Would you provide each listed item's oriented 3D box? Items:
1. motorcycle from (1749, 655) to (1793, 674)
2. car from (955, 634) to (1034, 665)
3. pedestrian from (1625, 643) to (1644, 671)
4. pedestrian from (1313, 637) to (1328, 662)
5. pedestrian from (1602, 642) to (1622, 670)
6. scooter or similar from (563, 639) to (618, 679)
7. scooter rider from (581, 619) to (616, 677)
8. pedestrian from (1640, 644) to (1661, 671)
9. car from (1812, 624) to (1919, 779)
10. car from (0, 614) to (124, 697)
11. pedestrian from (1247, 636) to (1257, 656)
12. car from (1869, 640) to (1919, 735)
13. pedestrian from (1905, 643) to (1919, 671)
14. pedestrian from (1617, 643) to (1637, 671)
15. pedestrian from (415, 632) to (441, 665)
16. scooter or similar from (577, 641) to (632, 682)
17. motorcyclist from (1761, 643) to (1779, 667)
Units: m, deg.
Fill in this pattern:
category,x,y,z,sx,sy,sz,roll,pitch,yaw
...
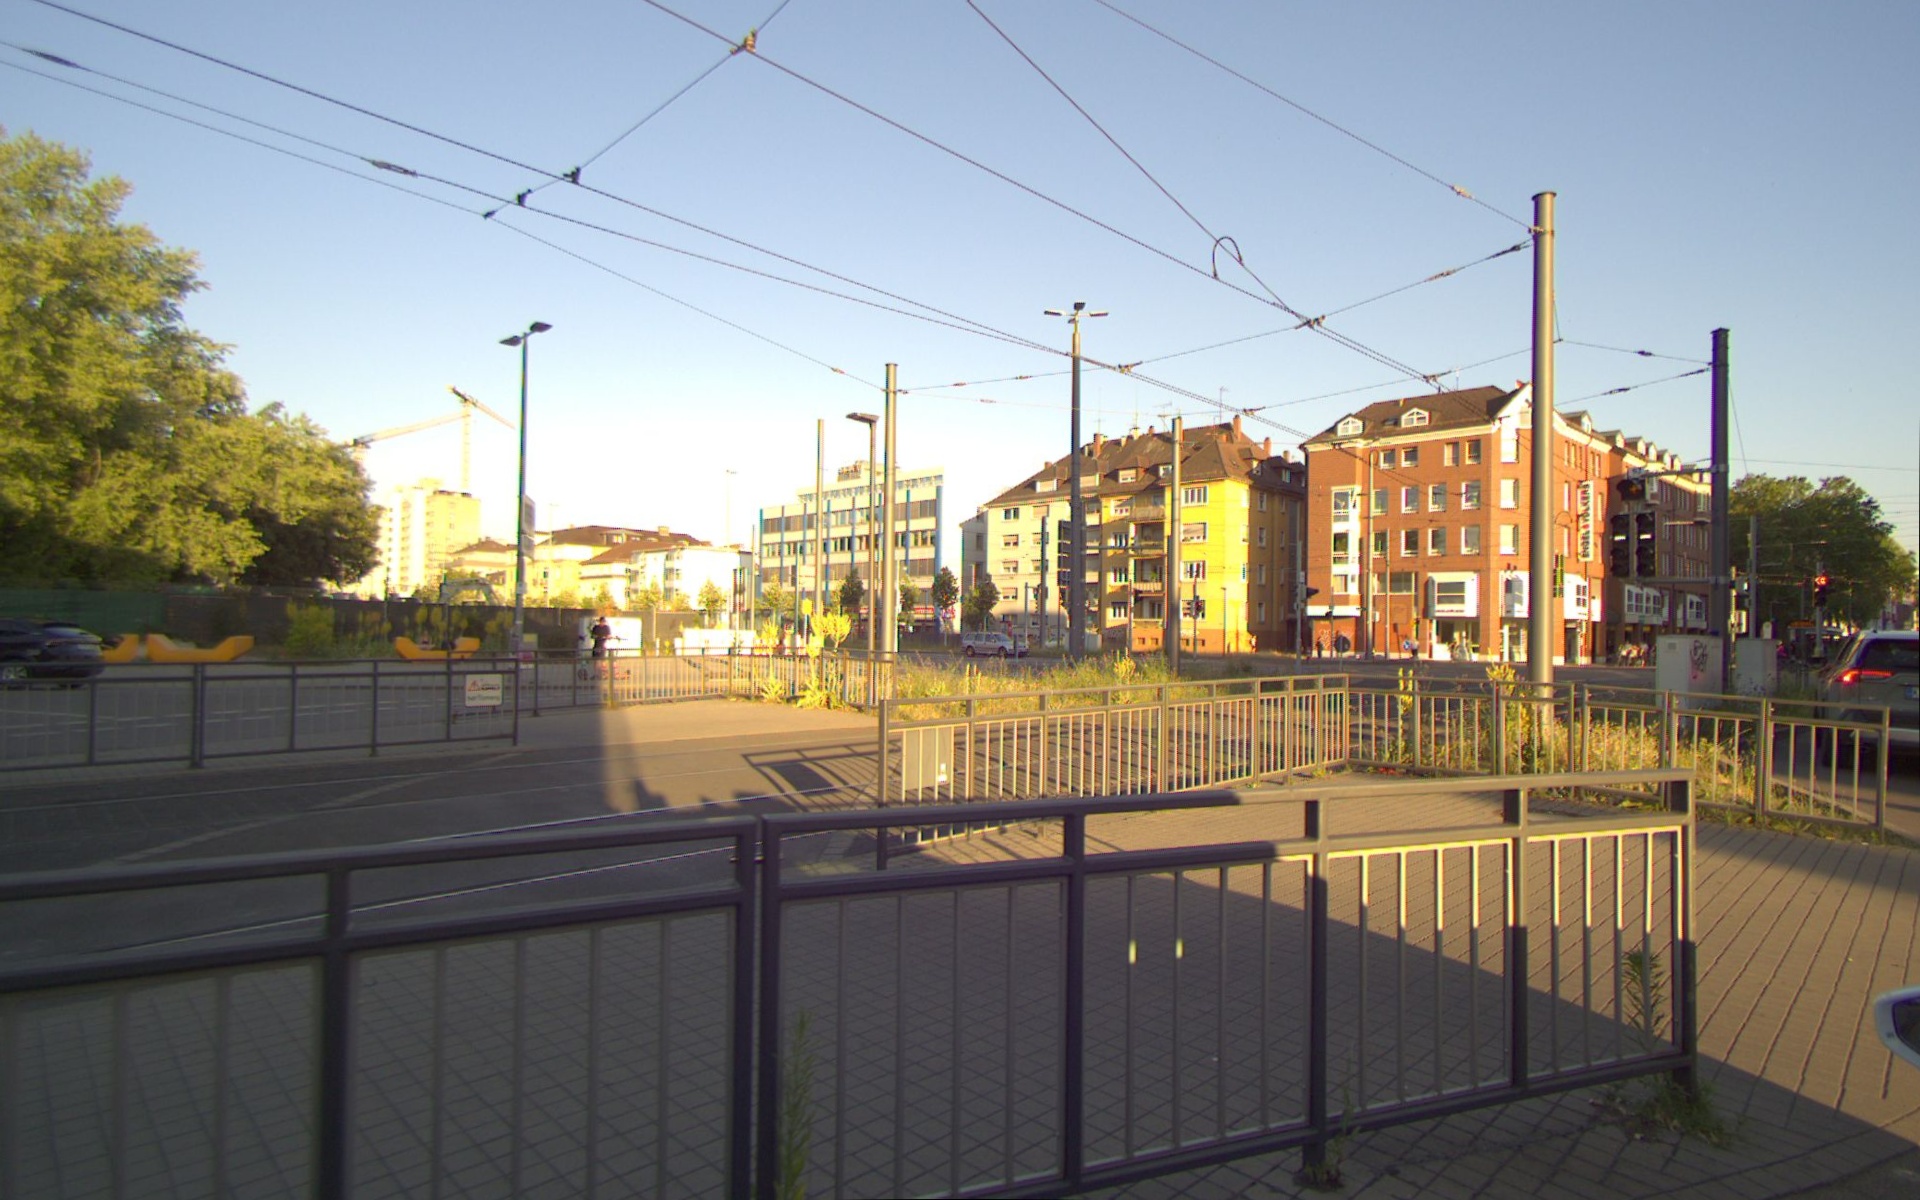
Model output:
category,x,y,z,sx,sy,sz,roll,pitch,yaw
motorcycle,43.938,3.496,54.422,1.814,0.920,0.429,2,-1,45
car,1.951,2.819,57.844,4.288,1.572,1.990,0,-2,42
pedestrian,50.136,4.234,74.644,0.902,2.040,0.967,3,-1,-44
pedestrian,26.737,3.667,74.487,0.657,1.765,0.688,3,-2,-19
pedestrian,49.059,4.192,75.579,0.902,2.040,1.083,3,-1,-44
scooter or similar,-10.433,1.658,28.439,0.419,1.077,1.623,2,-1,24
scooter rider,-10.333,1.377,28.730,0.576,1.614,0.657,2,0,28
pedestrian,53.489,4.439,77.827,1.155,2.040,1.082,3,-1,-44
car,11.798,1.168,12.408,1.813,1.658,4.073,1,-1,39
car,-20.404,1.096,21.054,3.925,1.567,1.998,3,-1,-6
pedestrian,24.103,3.805,82.853,0.497,1.664,0.545,3,-1,-43
car,16.932,1.462,17.137,4.379,1.480,1.728,2,0,-43
pedestrian,60.009,3.571,63.195,0.801,1.686,0.695,3,-1,-40
pedestrian,50.391,4.279,75.897,0.902,2.040,1.083,3,-1,-44
pedestrian,-20.453,1.871,38.614,0.699,1.227,0.717,3,-1,-43
scooter or similar,-9.926,1.705,28.128,0.419,1.097,1.623,2,-1,24
motorcyclist,43.905,2.969,54.434,0.696,1.236,0.784,2,-1,43
